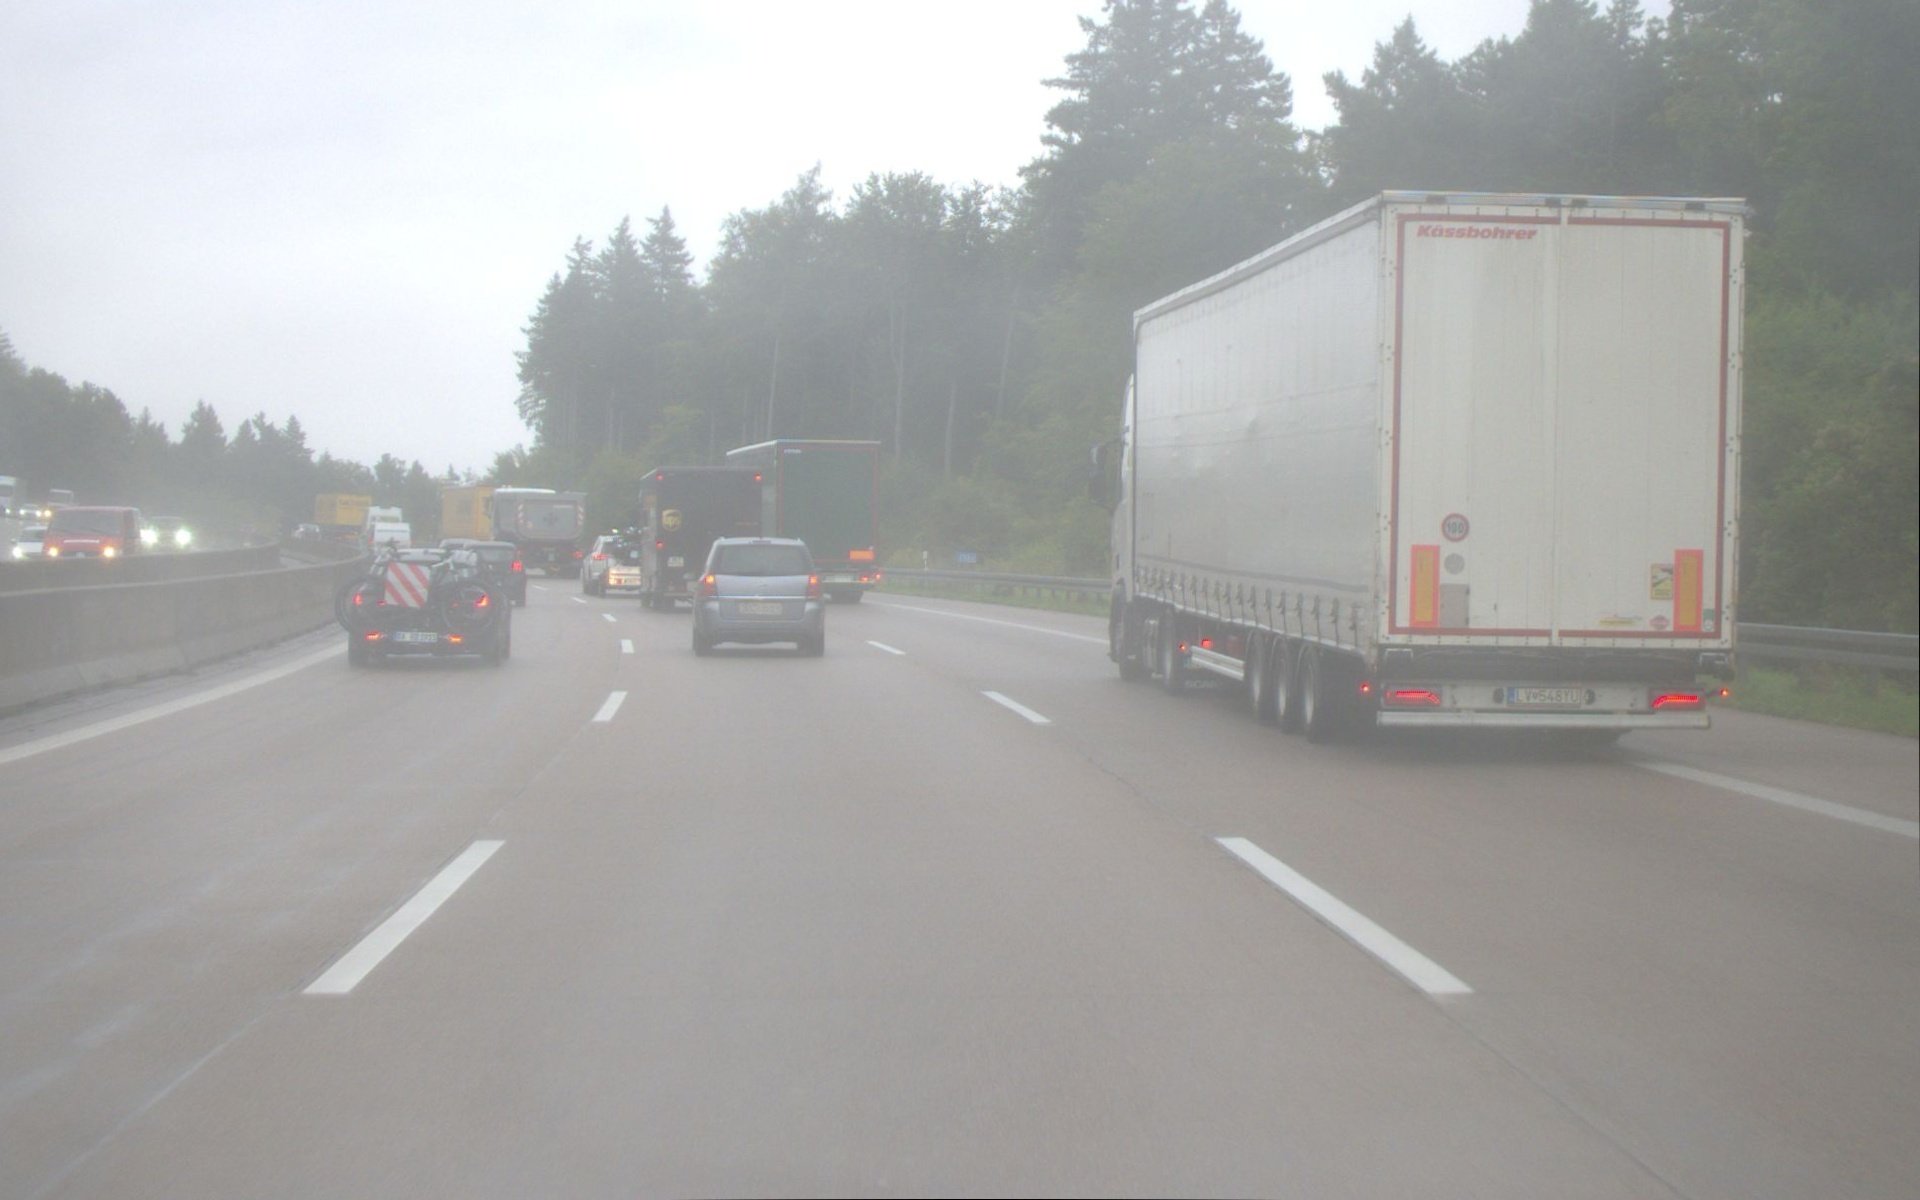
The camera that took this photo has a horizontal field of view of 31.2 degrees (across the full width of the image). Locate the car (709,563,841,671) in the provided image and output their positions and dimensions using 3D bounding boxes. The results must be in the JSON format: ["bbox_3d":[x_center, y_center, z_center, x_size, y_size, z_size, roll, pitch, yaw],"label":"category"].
[{"bbox_3d":[-2.504,0.204,47.166,1.554,1.347,3.684,2,1,0],"label":"car"}]

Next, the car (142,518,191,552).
[{"bbox_3d":[-32.508,-2.658,140.896,1.621,1.388,4.001,0,1,-8],"label":"car"}]

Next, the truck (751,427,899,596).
[{"bbox_3d":[-3.626,-2.258,89.437,3.368,4.117,10.439,0,1,-5],"label":"truck"}]

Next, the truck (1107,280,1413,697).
[{"bbox_3d":[3.041,-1.126,36.048,2.419,4.054,4.979,0,1,-4],"label":"truck"}]

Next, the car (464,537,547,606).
[{"bbox_3d":[-10.251,-0.666,77.754,1.683,1.457,3.684,2,1,-5],"label":"car"}]

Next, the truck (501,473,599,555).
[{"bbox_3d":[-15.096,-3.174,126.124,3.082,2.895,7.906,0,2,-10],"label":"truck"}]

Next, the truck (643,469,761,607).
[{"bbox_3d":[-5.770,-1.429,75.952,2.269,2.877,7.905,0,2,-7],"label":"truck"}]

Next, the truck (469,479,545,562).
[{"bbox_3d":[-23.722,-4.131,179.883,3.739,4.195,6.819,0,0,-9],"label":"truck"}]

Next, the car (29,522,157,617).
[{"bbox_3d":[-19.617,-0.719,78.016,1.993,2.075,5.333,0,1,-5],"label":"car"}]

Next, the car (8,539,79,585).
[{"bbox_3d":[-28.469,-1.188,106.868,1.621,1.388,4.001,0,1,-8],"label":"car"}]

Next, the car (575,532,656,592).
[{"bbox_3d":[-9.019,-1.026,90.237,1.881,1.468,4.001,2,1,-3],"label":"car"}]

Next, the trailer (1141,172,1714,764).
[{"bbox_3d":[3.530,-1.010,29.616,2.419,4.054,12.057,0,1,-4],"label":"trailer"}]

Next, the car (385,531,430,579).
[{"bbox_3d":[-23.314,-1.895,145.156,1.725,2.007,3.657,0,0,-7],"label":"car"}]
